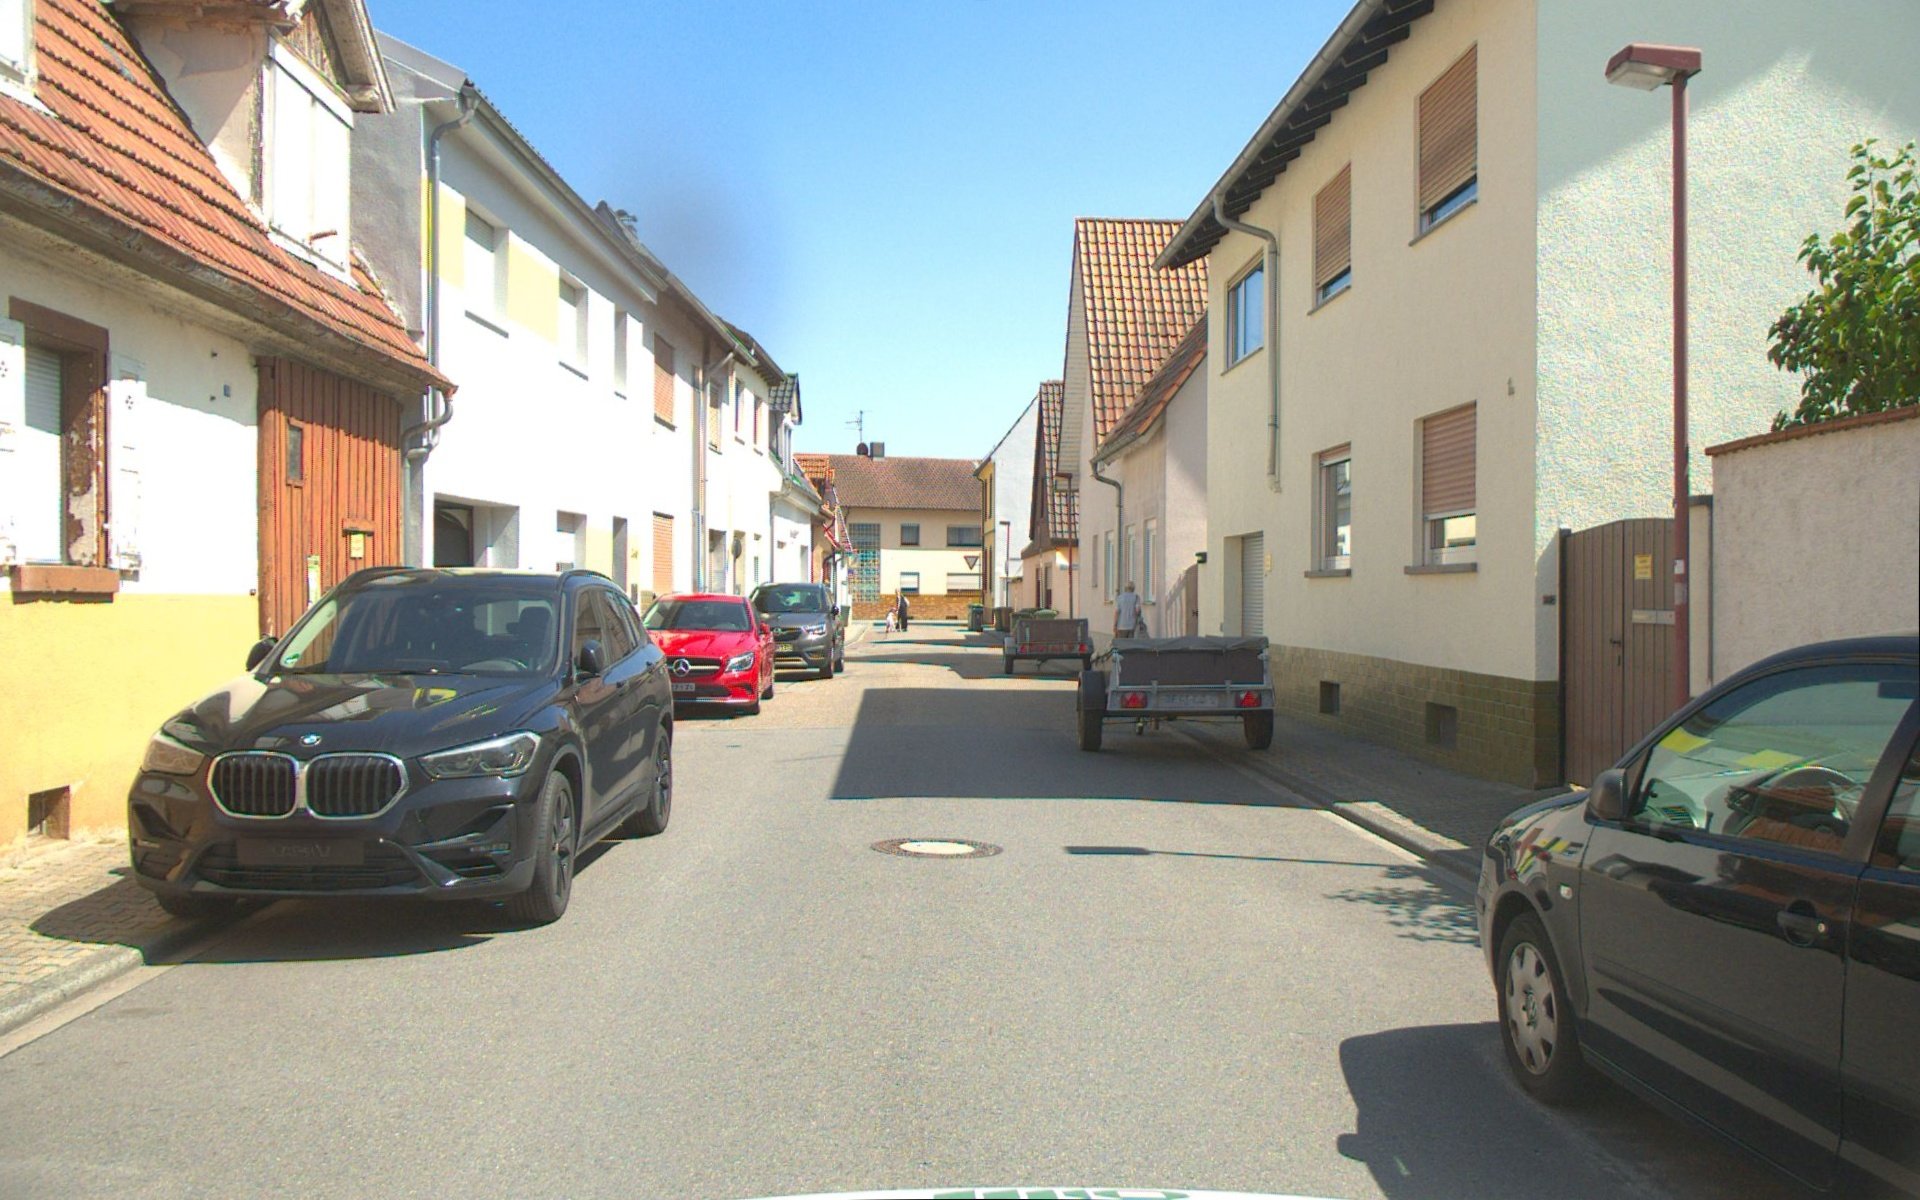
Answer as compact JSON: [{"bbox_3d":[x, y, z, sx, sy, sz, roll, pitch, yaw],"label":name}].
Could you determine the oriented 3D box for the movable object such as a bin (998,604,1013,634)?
[{"bbox_3d":[1.731,0.711,62.877,0.515,1.147,0.366,0,0,-4],"label":"movable object such as a bin"}]

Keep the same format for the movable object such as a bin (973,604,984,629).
[{"bbox_3d":[0.733,0.658,65.975,0.415,0.992,0.473,0,0,-4],"label":"movable object such as a bin"}]

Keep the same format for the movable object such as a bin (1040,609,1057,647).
[{"bbox_3d":[2.549,0.804,47.585,0.448,1.106,0.502,0,0,-3],"label":"movable object such as a bin"}]

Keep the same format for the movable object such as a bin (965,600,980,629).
[{"bbox_3d":[0.514,0.573,66.576,0.558,1.147,0.453,0,0,-4],"label":"movable object such as a bin"}]

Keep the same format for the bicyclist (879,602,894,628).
[{"bbox_3d":[-2.805,0.578,63.246,0.456,0.976,0.348,0,-1,-30],"label":"bicyclist"}]

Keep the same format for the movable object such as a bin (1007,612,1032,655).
[{"bbox_3d":[1.476,0.839,41.082,0.573,1.051,0.595,0,0,-3],"label":"movable object such as a bin"}]

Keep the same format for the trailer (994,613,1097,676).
[{"bbox_3d":[1.543,0.798,30.817,1.665,1.051,3.480,0,0,-2],"label":"trailer"}]

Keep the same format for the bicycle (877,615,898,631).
[{"bbox_3d":[-2.783,0.884,63.237,0.436,0.577,0.930,0,0,-30],"label":"bicycle"}]

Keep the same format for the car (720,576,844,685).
[{"bbox_3d":[-3.039,0.494,29.034,1.763,1.733,4.486,-1,0,-2],"label":"car"}]

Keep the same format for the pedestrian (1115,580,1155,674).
[{"bbox_3d":[2.994,0.472,28.353,0.584,1.592,0.556,0,-4,-4],"label":"pedestrian"}]

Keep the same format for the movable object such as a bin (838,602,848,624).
[{"bbox_3d":[-5.079,0.568,71.803,0.439,0.937,0.404,0,0,-4],"label":"movable object such as a bin"}]

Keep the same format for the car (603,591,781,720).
[{"bbox_3d":[-3.314,0.636,21.191,1.764,1.466,4.484,0,0,-3],"label":"car"}]

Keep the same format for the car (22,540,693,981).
[{"bbox_3d":[-2.612,0.595,8.458,1.763,1.601,4.614,-1,0,-1],"label":"car"}]

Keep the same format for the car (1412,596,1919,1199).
[{"bbox_3d":[2.590,0.721,4.036,1.616,1.461,4.131,0,0,-4],"label":"car"}]

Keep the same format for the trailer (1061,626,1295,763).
[{"bbox_3d":[2.007,0.850,16.130,1.780,1.109,3.480,0,0,-1],"label":"trailer"}]

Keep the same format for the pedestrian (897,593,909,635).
[{"bbox_3d":[-2.226,0.534,64.073,0.404,1.638,0.367,0,0,-11],"label":"pedestrian"}]

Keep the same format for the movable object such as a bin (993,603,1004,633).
[{"bbox_3d":[1.525,0.713,65.437,0.417,1.147,0.413,0,0,-4],"label":"movable object such as a bin"}]
